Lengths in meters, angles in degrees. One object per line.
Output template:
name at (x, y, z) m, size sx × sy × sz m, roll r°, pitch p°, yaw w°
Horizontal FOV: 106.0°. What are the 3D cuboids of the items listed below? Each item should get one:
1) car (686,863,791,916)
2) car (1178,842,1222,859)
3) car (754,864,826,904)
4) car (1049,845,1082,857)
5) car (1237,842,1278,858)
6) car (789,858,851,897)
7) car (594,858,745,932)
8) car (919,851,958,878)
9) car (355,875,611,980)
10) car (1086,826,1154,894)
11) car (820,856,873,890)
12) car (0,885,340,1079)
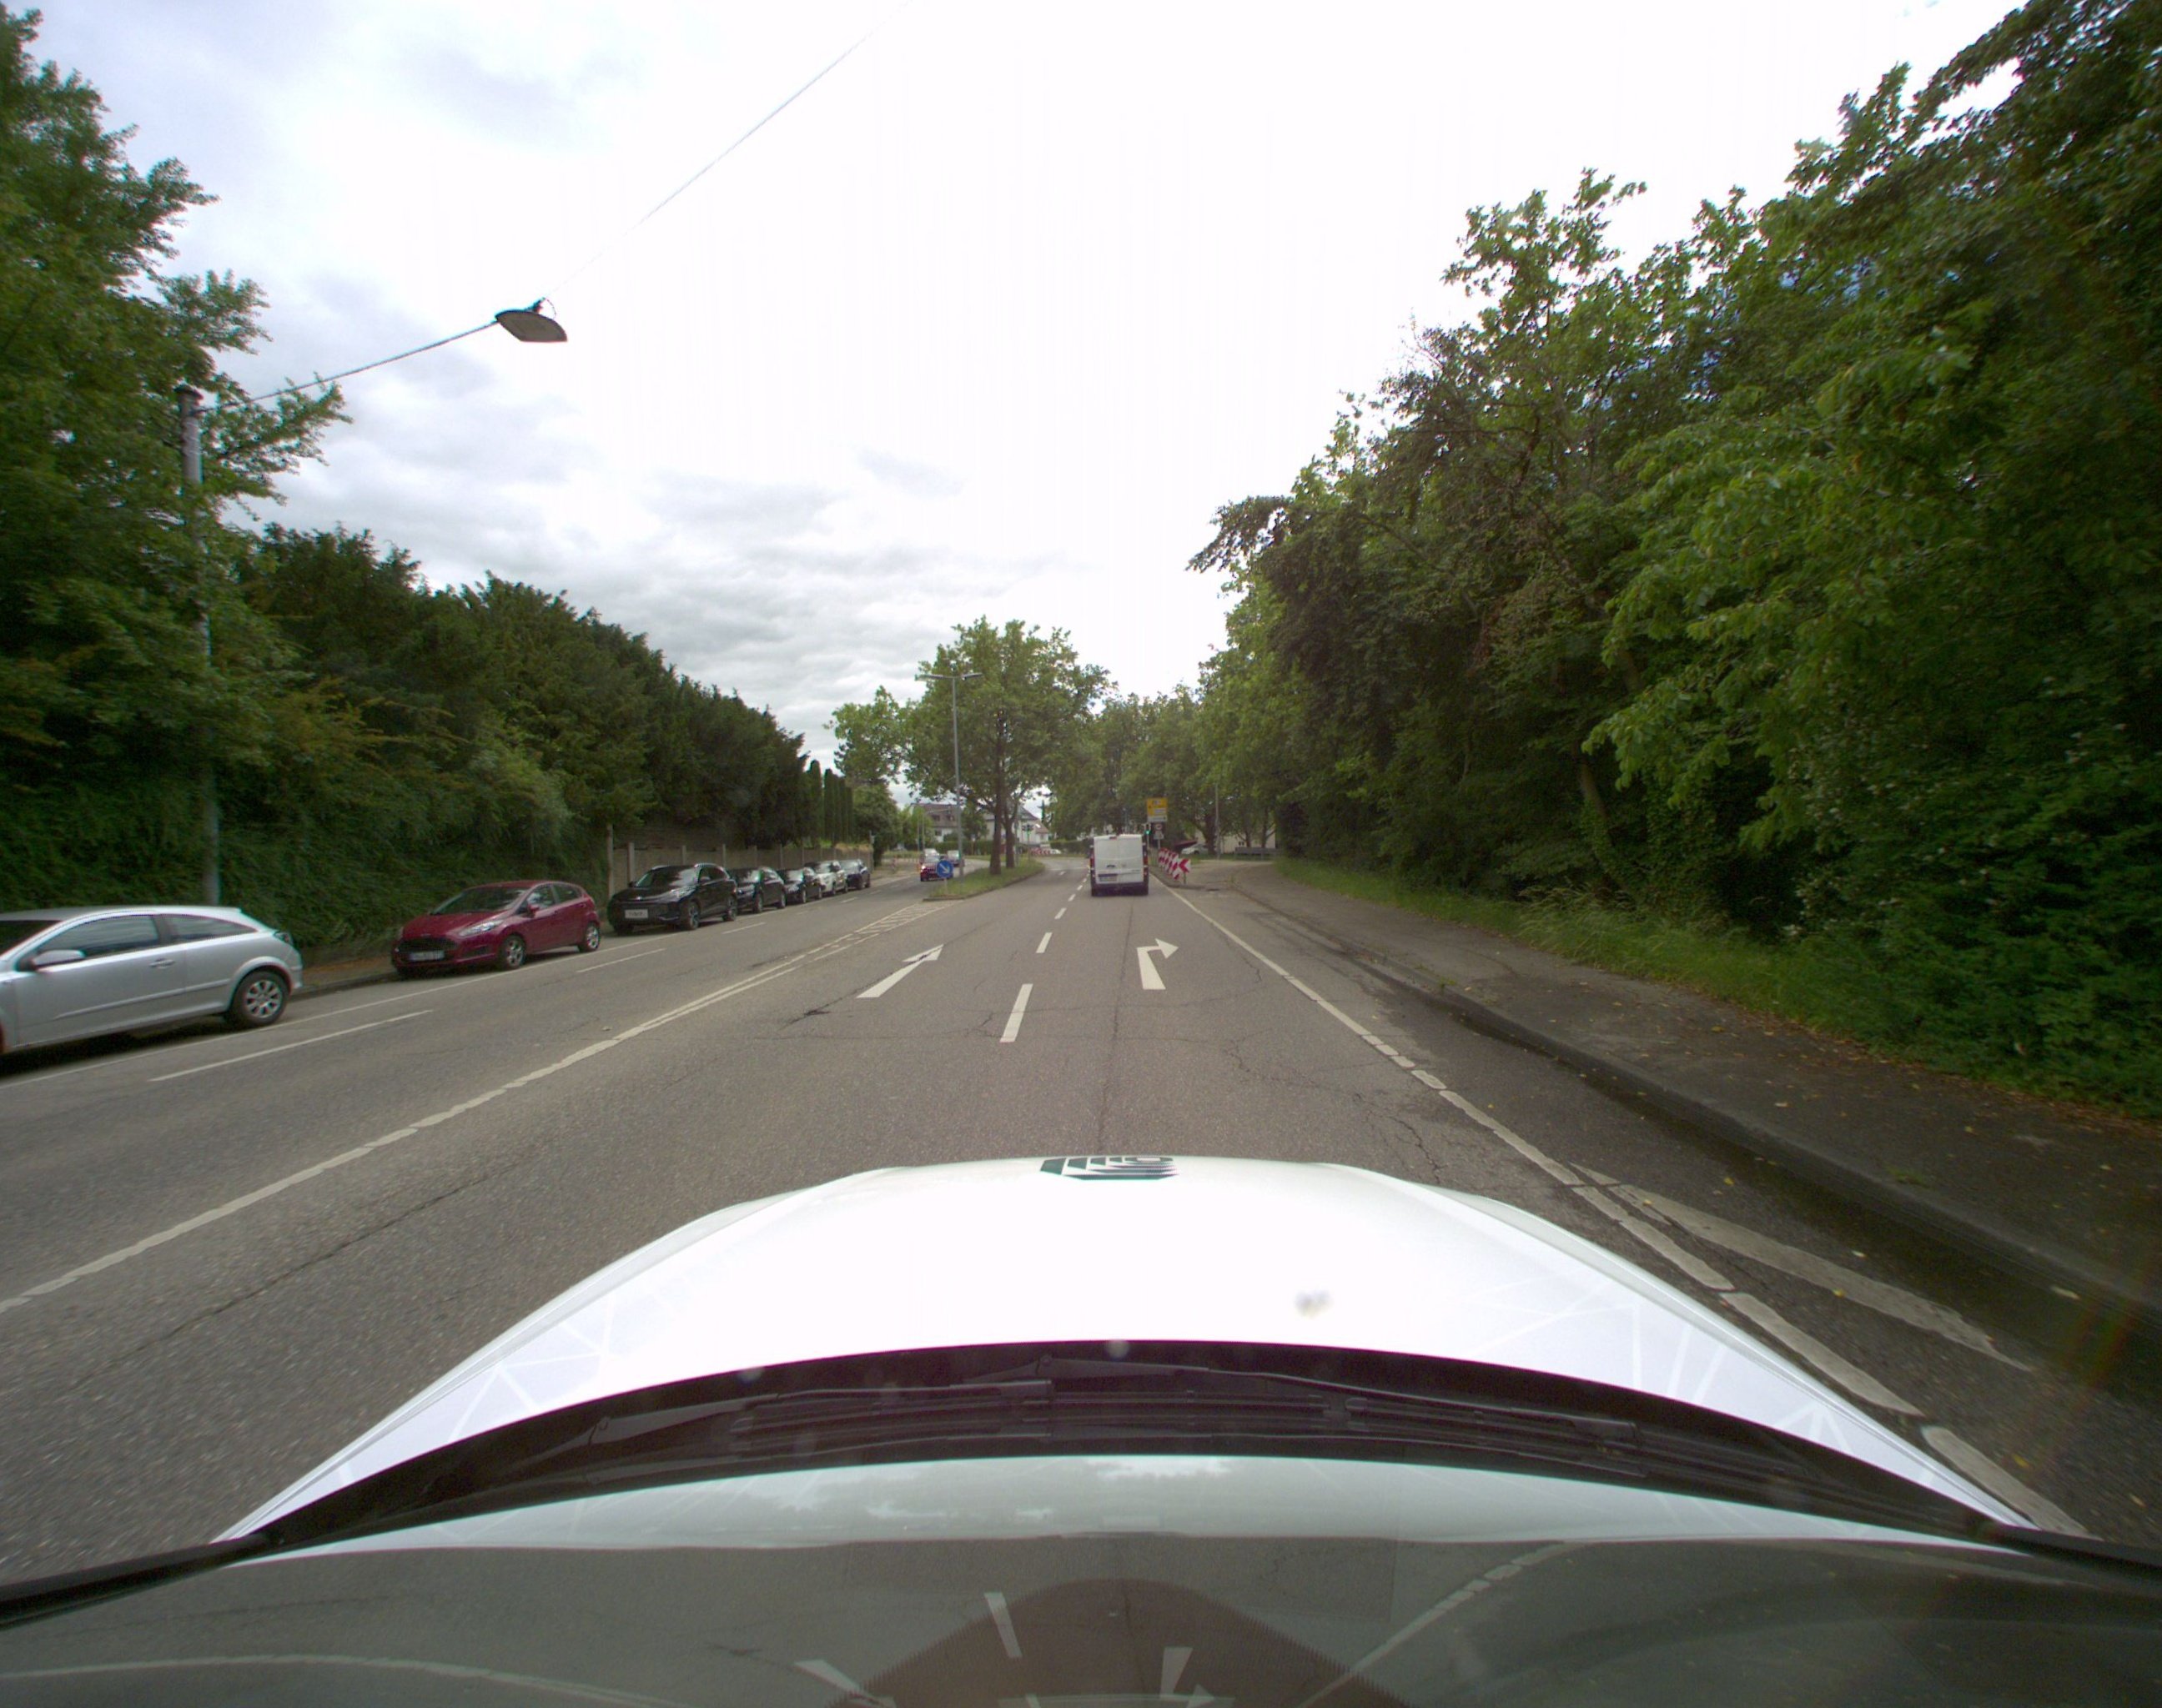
car at (-11.345, 1.125, 27.315) m, size 1.943 × 1.511 × 4.097 m, roll -3°, pitch 0°, yaw -4°
car at (13.340, -0.441, 91.508) m, size 4.763 × 1.769 × 1.979 m, roll -2°, pitch 0°, yaw -34°
car at (-11.667, 1.155, 32.879) m, size 1.645 × 1.401 × 4.215 m, roll -2°, pitch 0°, yaw -5°
car at (-2.400, -0.416, 123.877) m, size 4.683 × 1.769 × 2.013 m, roll -1°, pitch 0°, yaw 35°
car at (20.951, -0.501, 96.643) m, size 4.763 × 1.769 × 1.979 m, roll -2°, pitch 0°, yaw -34°
car at (-11.987, 1.031, 37.665) m, size 1.669 × 1.592 × 4.090 m, roll -3°, pitch 0°, yaw -4°
car at (-10.684, 0.983, 21.569) m, size 1.991 × 1.643 × 4.457 m, roll -3°, pitch 0°, yaw -6°
car at (-9.109, 0.682, 52.231) m, size 1.994 × 1.587 × 3.992 m, roll -3°, pitch 0°, yaw -4°
car at (-10.290, 1.172, 14.457) m, size 1.777 × 1.438 × 3.992 m, roll -3°, pitch 0°, yaw -5°
car at (1.224, 0.205, 27.756) m, size 2.000 × 2.038 × 5.009 m, roll -2°, pitch -1°, yaw 0°
car at (-12.326, 0.988, 43.011) m, size 1.885 × 1.625 × 4.421 m, roll -2°, pitch 0°, yaw -6°
car at (-9.768, 1.149, 7.682) m, size 1.666 × 1.488 × 4.424 m, roll -3°, pitch 0°, yaw -4°
